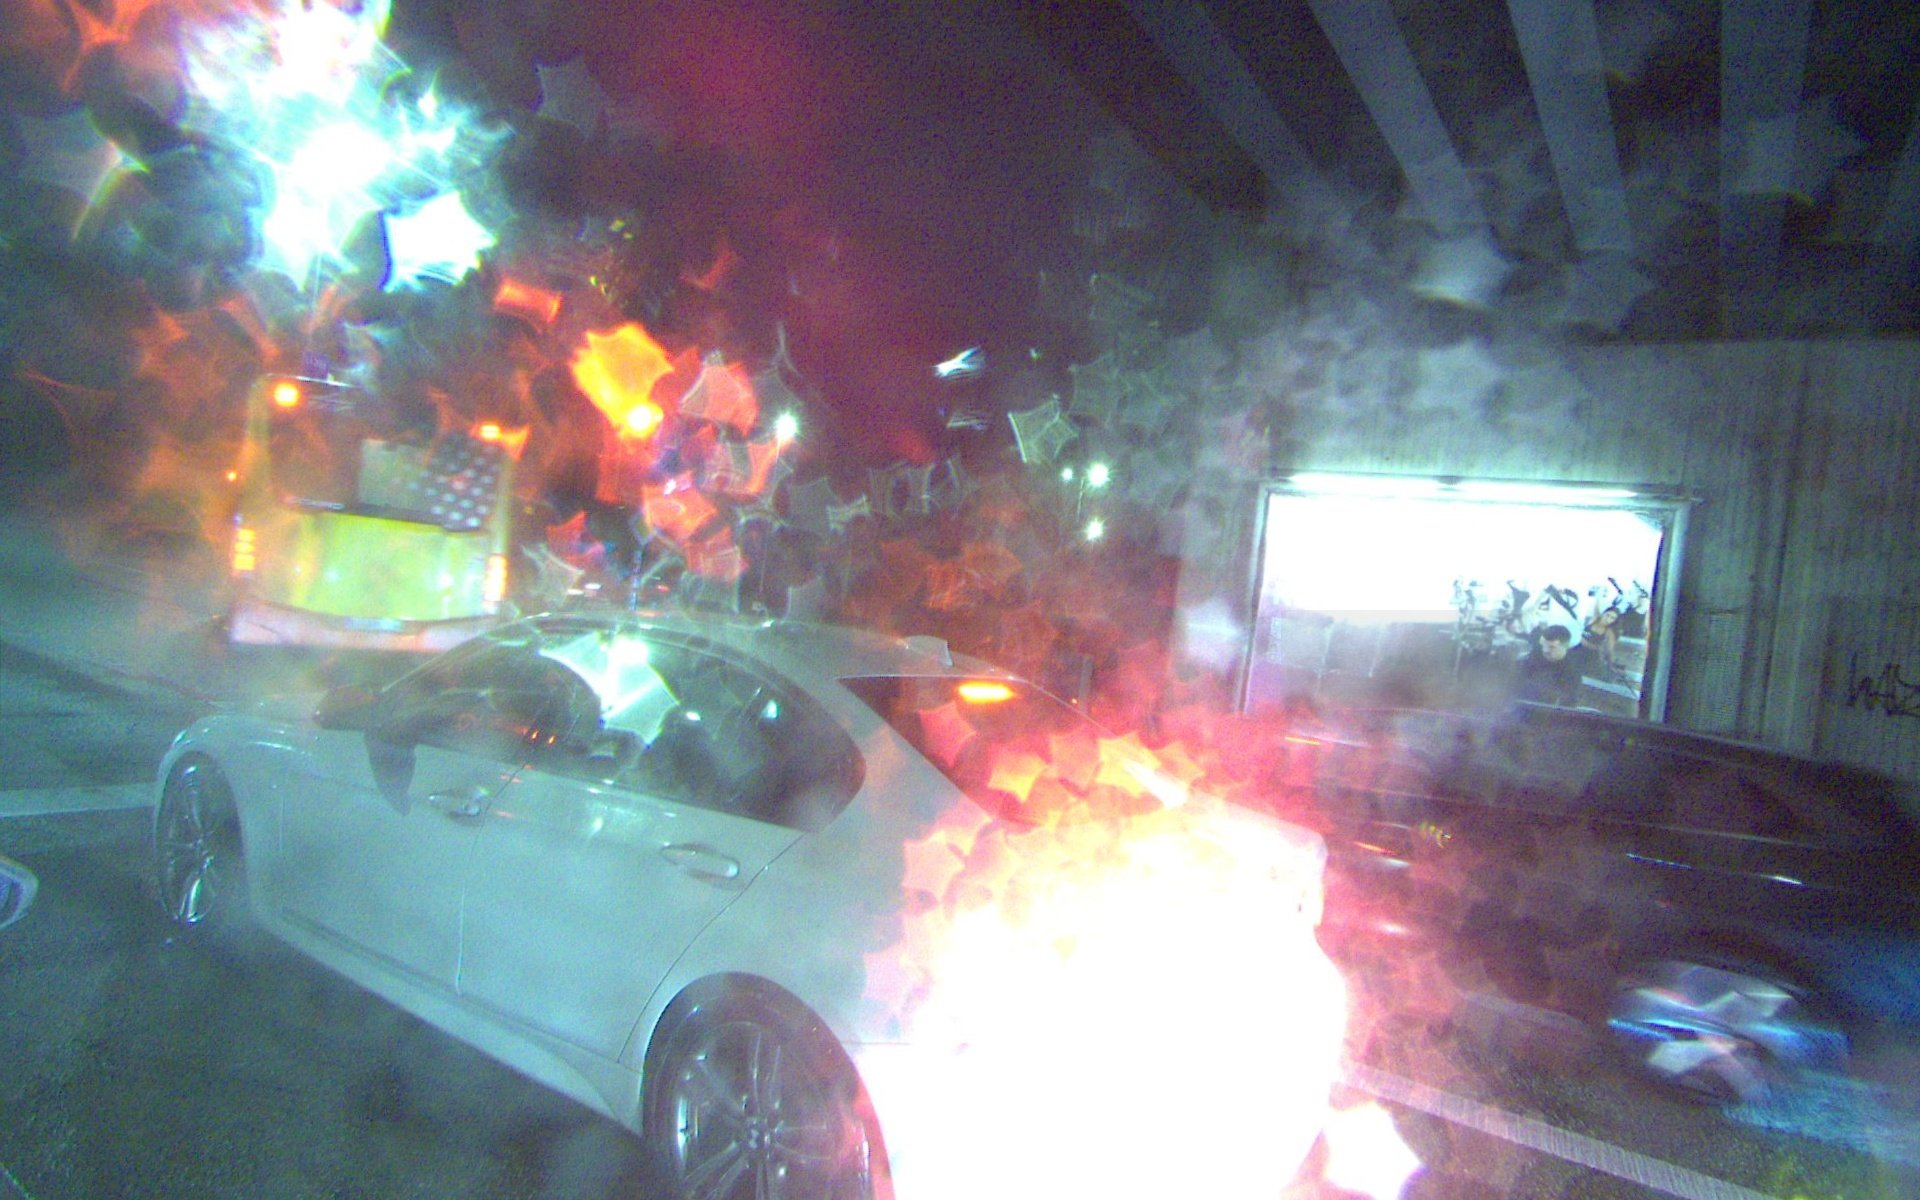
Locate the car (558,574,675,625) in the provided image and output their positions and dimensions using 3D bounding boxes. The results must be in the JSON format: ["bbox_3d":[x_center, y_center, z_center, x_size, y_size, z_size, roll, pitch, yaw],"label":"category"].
[{"bbox_3d":[-14.187,0.004,41.684,1.771,1.504,4.138,6,-3,41],"label":"car"}]

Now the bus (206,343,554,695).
[{"bbox_3d":[-8.708,-0.975,14.215,2.756,3.160,9.662,9,-2,-37],"label":"bus"}]

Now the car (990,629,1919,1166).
[{"bbox_3d":[2.661,1.208,5.029,4.548,1.495,1.843,6,-2,27],"label":"car"}]

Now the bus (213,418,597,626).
[{"bbox_3d":[-11.231,-1.203,22.042,2.727,3.159,9.766,8,-2,-1],"label":"bus"}]

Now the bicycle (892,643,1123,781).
[{"bbox_3d":[0.468,1.125,10.429,2.171,1.070,0.798,6,-2,32],"label":"bicycle"}]

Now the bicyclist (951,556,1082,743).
[{"bbox_3d":[0.590,0.510,10.400,0.886,1.783,0.798,6,-1,31],"label":"bicyclist"}]

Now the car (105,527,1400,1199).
[{"bbox_3d":[-0.967,0.704,3.497,4.277,1.420,1.720,6,-2,32],"label":"car"}]
